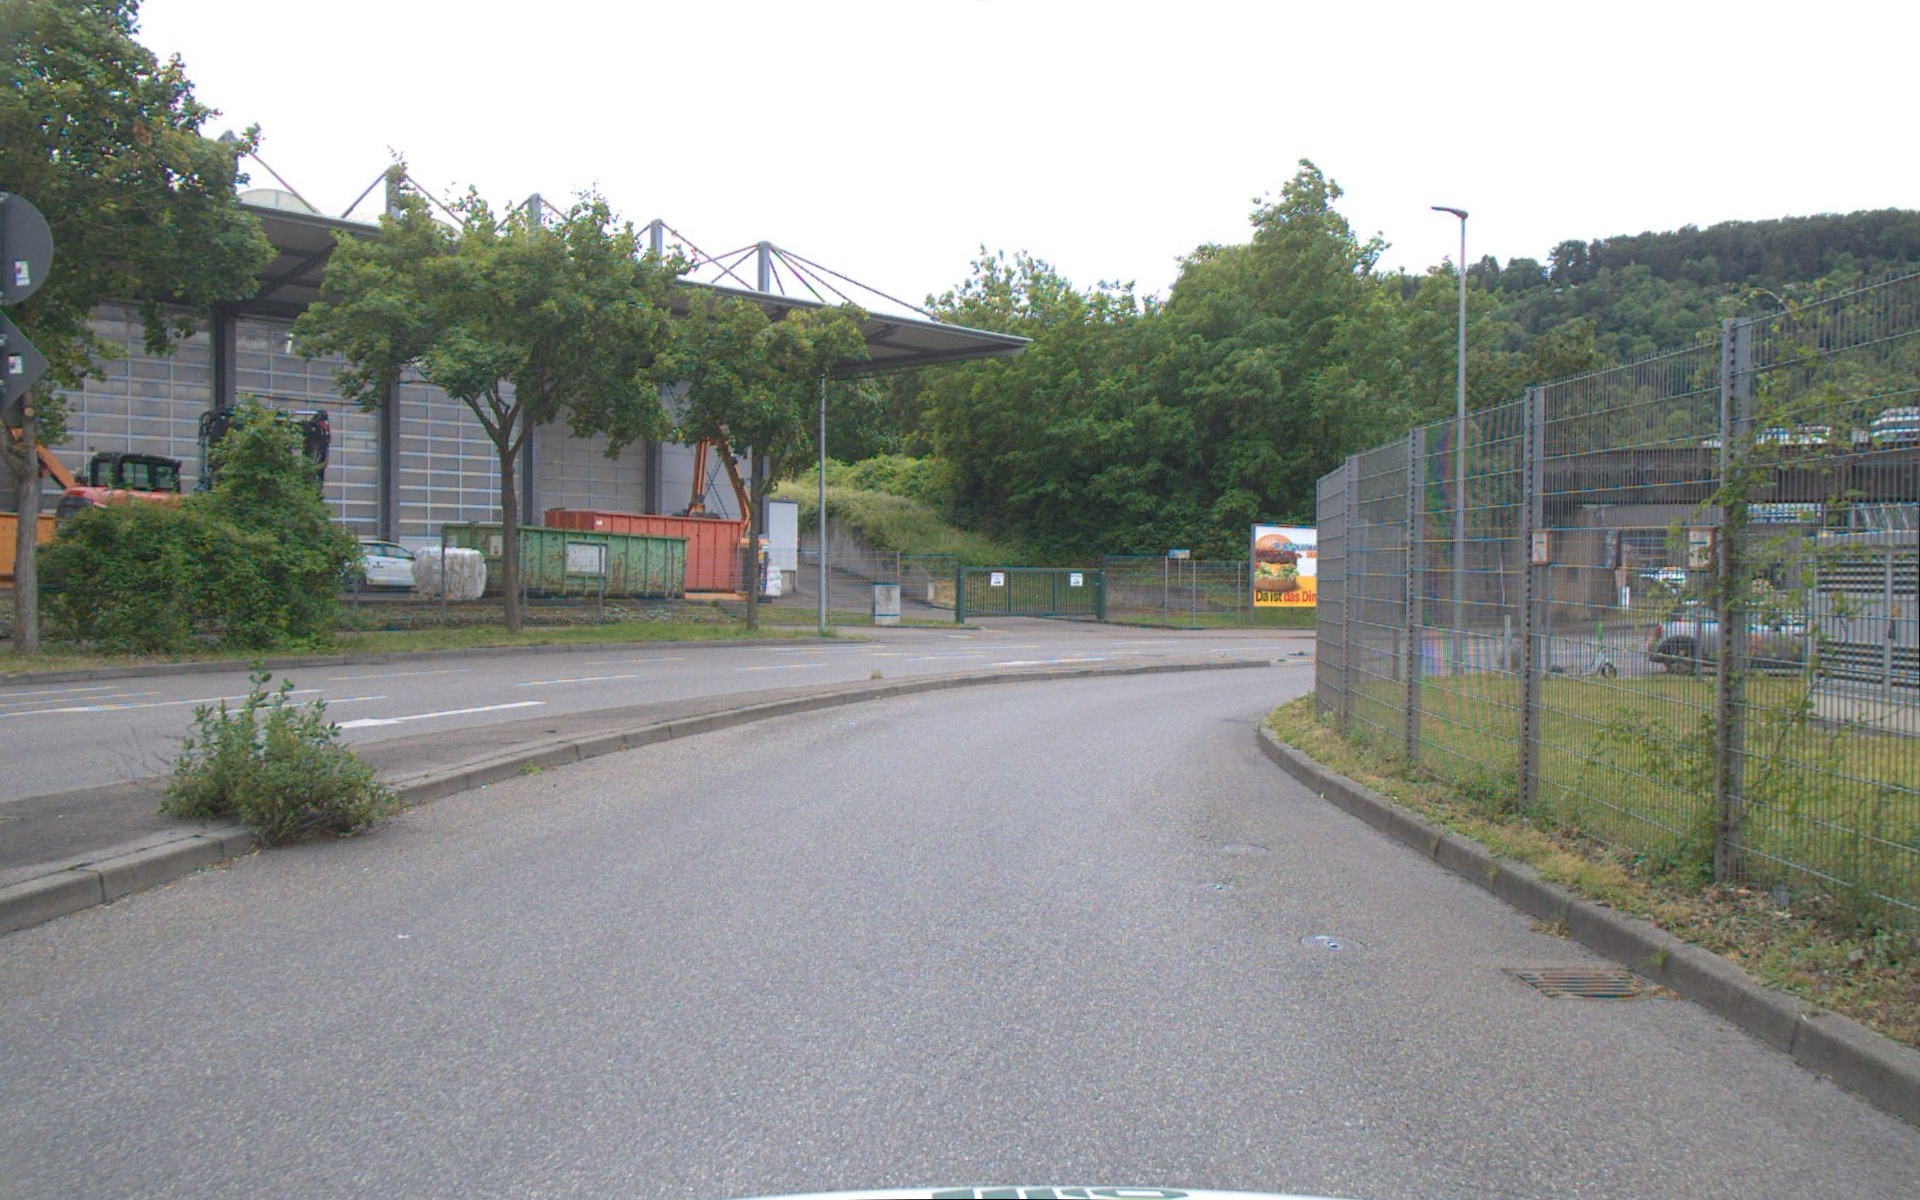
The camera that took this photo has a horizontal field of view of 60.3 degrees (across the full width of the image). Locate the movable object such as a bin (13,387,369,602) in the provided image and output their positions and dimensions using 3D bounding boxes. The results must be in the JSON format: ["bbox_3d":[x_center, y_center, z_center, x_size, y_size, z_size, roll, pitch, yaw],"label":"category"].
[{"bbox_3d":[-16.327,-2.117,35.595,2.677,4.162,6.533,0,1,33],"label":"movable object such as a bin"}]

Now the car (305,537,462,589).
[{"bbox_3d":[-16.578,-1.050,47.656,1.706,1.398,3.978,1,1,41],"label":"car"}]

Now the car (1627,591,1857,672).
[{"bbox_3d":[15.081,0.575,32.112,3.926,1.457,1.786,0,0,23],"label":"car"}]

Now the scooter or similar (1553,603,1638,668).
[{"bbox_3d":[11.561,0.643,30.105,0.476,1.153,1.398,0,-1,-41],"label":"scooter or similar"}]
